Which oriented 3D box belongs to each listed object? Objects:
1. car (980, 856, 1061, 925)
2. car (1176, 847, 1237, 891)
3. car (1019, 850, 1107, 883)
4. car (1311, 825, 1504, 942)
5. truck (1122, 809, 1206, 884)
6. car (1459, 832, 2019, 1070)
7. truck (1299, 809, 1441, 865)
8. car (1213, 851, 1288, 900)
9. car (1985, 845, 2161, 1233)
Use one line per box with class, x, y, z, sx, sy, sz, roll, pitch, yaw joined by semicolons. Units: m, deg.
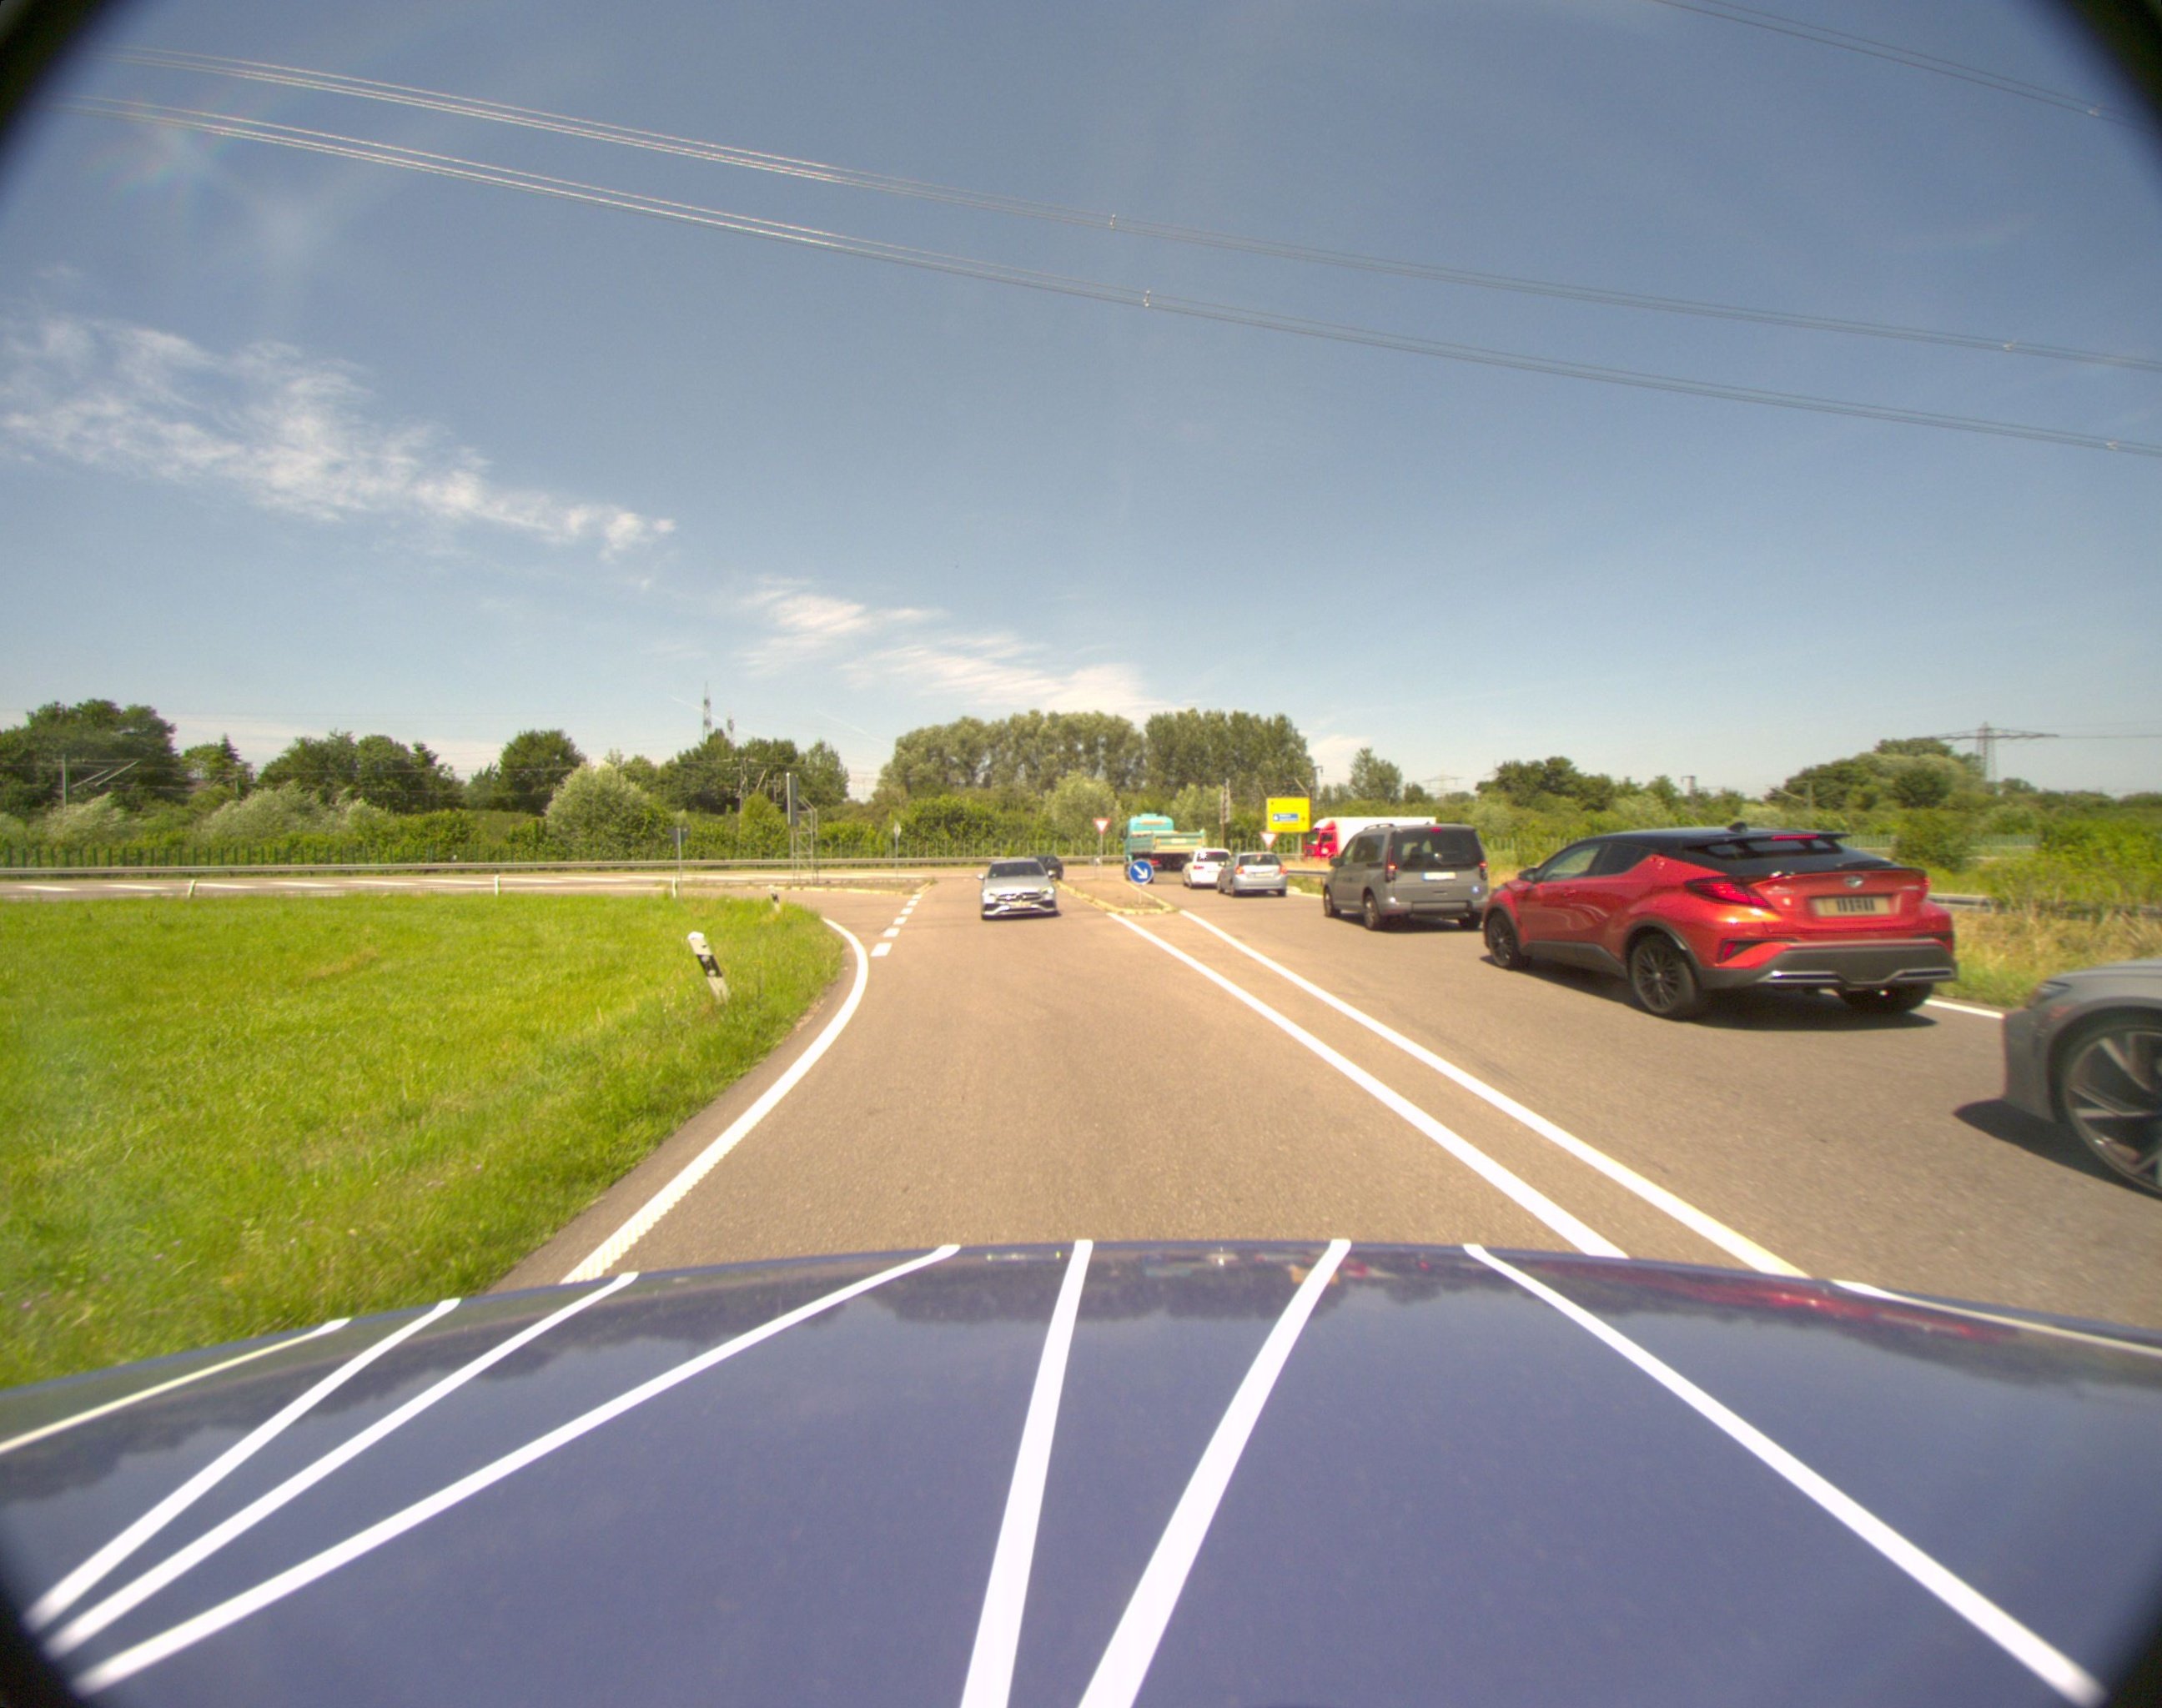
car;-1.604;0.849;19.589;1.825;1.478;4.145;-1;1;-6
car;5.069;0.569;31.165;1.776;1.611;4.330;-2;0;1
car;-0.919;0.619;39.276;4.155;1.432;1.820;-2;4;-31
car;5.889;0.464;14.382;1.930;1.821;4.439;-2;0;3
truck;4.027;-0.378;38.695;2.610;3.451;7.604;0;0;-7
car;5.480;0.621;7.285;1.802;1.507;4.393;-4;1;6
truck;20.779;-1.252;54.680;9.557;3.559;2.722;-2;1;-12
car;5.493;0.648;25.084;1.636;1.451;4.008;-1;0;1
car;4.828;0.727;0.996;1.845;1.452;4.810;-1;1;5
